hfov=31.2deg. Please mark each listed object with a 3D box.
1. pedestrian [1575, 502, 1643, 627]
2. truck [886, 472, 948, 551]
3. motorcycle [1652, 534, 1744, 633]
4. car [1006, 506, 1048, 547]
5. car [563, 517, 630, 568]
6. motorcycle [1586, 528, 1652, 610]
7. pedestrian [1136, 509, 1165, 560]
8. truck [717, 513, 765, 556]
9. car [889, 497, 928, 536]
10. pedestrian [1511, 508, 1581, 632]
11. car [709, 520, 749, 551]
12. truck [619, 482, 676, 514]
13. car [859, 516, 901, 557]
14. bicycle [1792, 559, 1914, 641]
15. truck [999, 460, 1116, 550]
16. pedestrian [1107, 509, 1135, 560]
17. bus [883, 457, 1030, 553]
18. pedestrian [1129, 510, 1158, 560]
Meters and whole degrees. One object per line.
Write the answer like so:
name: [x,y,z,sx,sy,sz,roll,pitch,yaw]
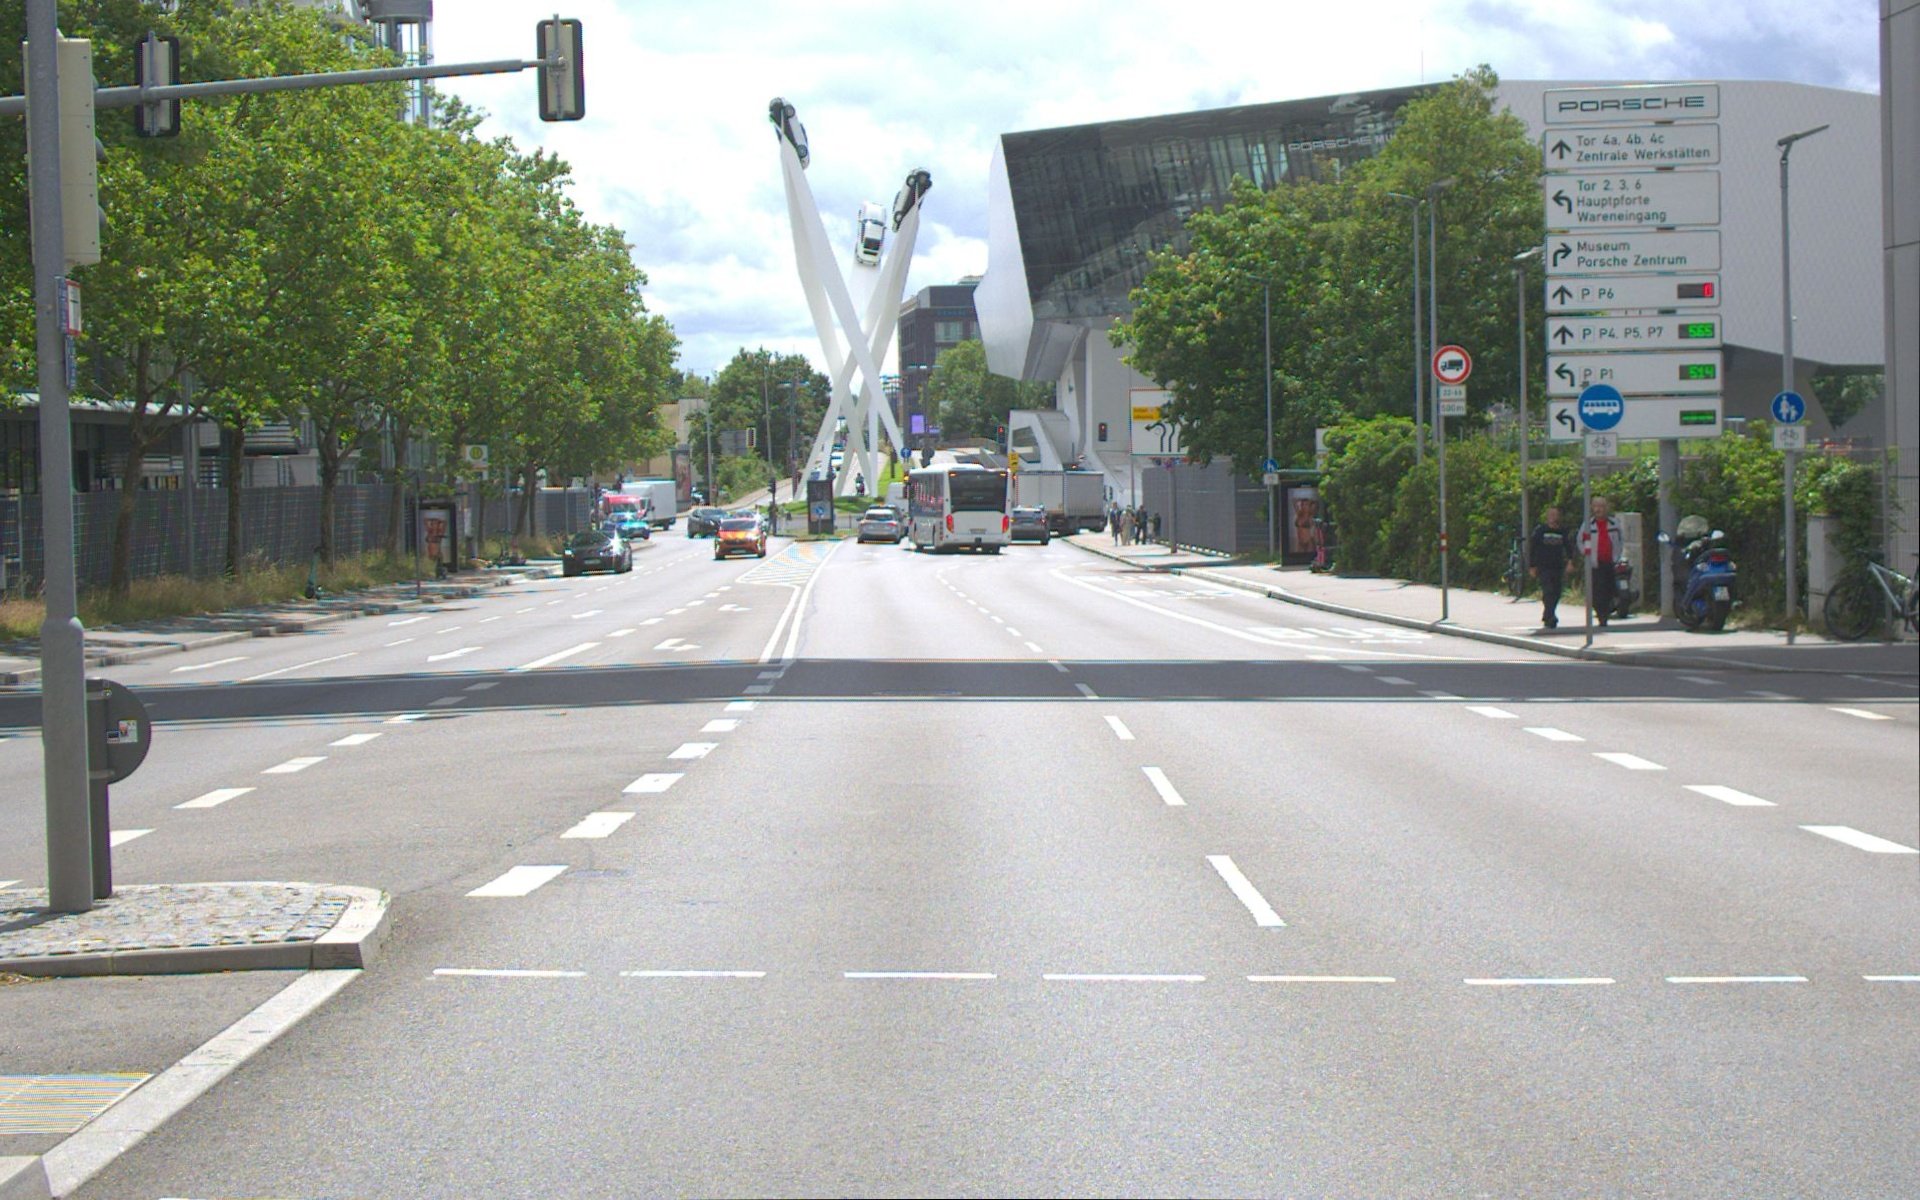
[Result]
pedestrian: [9.038,-0.494,47.898,0.820,1.735,0.637,0,1,0]
truck: [-2.124,-4.431,172.576,2.393,3.884,6.176,0,1,6]
motorcycle: [9.618,-0.231,44.873,0.706,1.199,2.024,-2,2,-1]
car: [2.912,-3.198,149.586,1.738,1.735,3.691,0,1,-1]
car: [-11.528,-1.829,109.273,1.818,1.532,3.679,-2,1,-2]
motorcycle: [10.101,-0.487,52.730,0.574,1.199,2.024,-2,2,-1]
pedestrian: [7.646,-2.621,137.688,1.028,2.007,0.885,1,0,-4]
truck: [-7.871,-2.358,123.483,1.583,1.532,3.679,0,1,-6]
car: [-2.330,-3.797,156.455,1.738,1.735,3.691,0,1,-1]
pedestrian: [8.153,-0.425,47.839,0.820,1.701,0.881,0,1,-1]
car: [-12.053,-3.352,179.284,1.818,1.532,3.679,-2,1,-7]
truck: [-19.872,-6.500,218.793,1.761,2.007,4.438,0,1,22]
car: [-3.446,-2.745,148.684,1.738,1.735,3.691,0,1,-1]
bicycle: [10.623,-0.012,40.953,0.397,0.933,1.929,0,1,-19]
truck: [4.919,-4.695,171.619,3.455,4.376,9.412,0,1,17]
pedestrian: [6.450,-2.637,137.710,1.028,2.007,0.885,1,0,-4]
bus: [-0.244,-3.606,131.830,3.451,3.531,10.609,0,1,-12]
pedestrian: [7.394,-2.623,138.711,1.028,2.007,0.885,1,0,-4]
